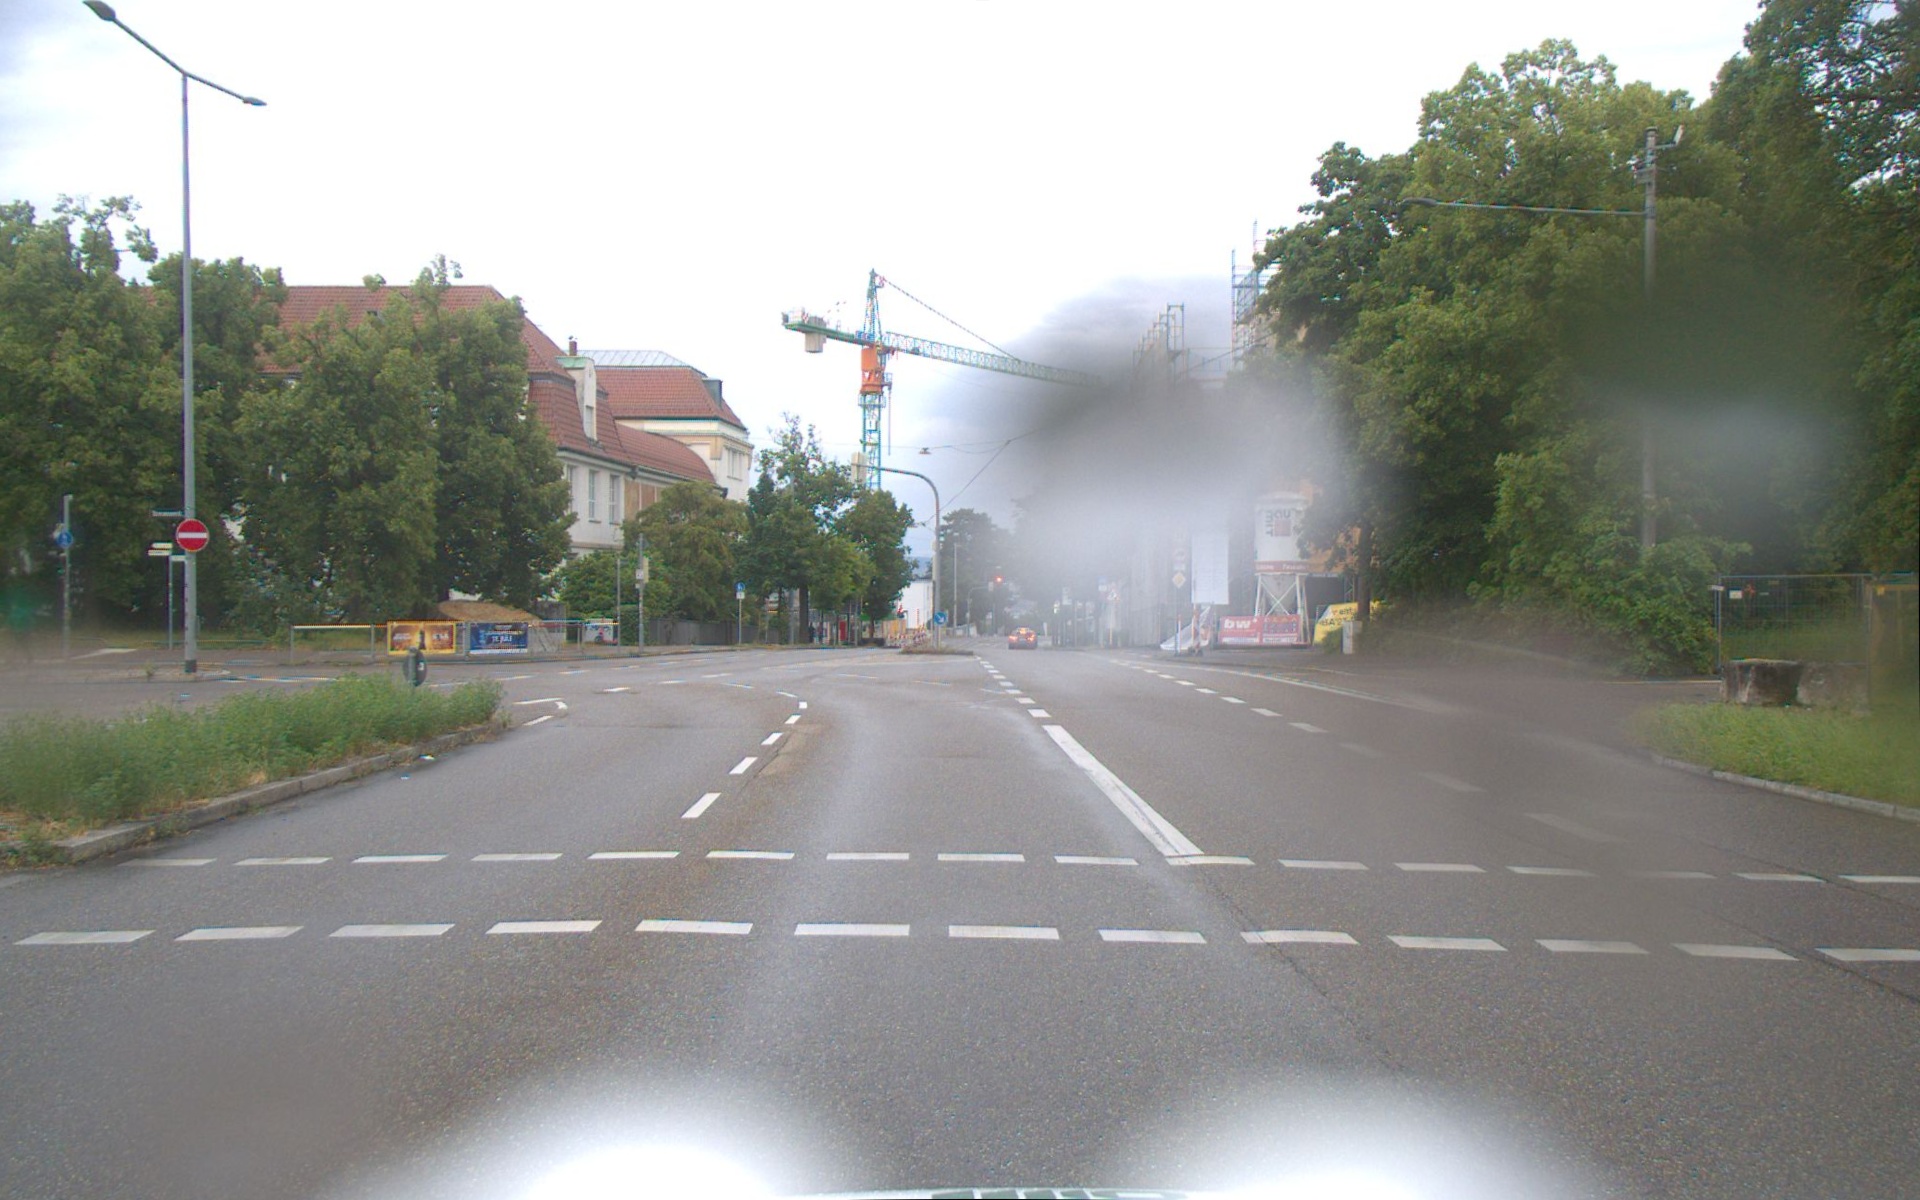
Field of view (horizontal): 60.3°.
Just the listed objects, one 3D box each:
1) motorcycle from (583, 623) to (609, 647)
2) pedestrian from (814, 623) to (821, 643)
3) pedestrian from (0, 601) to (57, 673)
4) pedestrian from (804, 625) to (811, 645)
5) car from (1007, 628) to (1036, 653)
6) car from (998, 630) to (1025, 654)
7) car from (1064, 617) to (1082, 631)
[{"bbox_3d":[-14.192,1.364,64.456,0.832,0.893,0.877,1,0,-1],"label":"motorcycle"},{"bbox_3d":[-10.128,2.349,117.840,0.465,1.421,0.411,0,0,-1],"label":"pedestrian"},{"bbox_3d":[-23.406,0.918,41.512,0.903,1.757,0.946,1,-1,5],"label":"pedestrian"},{"bbox_3d":[-10.892,2.466,117.946,0.465,1.421,0.411,-1,0,-1],"label":"pedestrian"},{"bbox_3d":[4.663,3.071,125.111,1.953,1.780,3.999,-1,0,-1],"label":"car"},{"bbox_3d":[4.065,3.325,130.726,1.953,1.780,3.999,-1,0,-1],"label":"car"},{"bbox_3d":[14.952,3.123,219.504,1.951,1.780,4.003,-1,0,10],"label":"car"}]
